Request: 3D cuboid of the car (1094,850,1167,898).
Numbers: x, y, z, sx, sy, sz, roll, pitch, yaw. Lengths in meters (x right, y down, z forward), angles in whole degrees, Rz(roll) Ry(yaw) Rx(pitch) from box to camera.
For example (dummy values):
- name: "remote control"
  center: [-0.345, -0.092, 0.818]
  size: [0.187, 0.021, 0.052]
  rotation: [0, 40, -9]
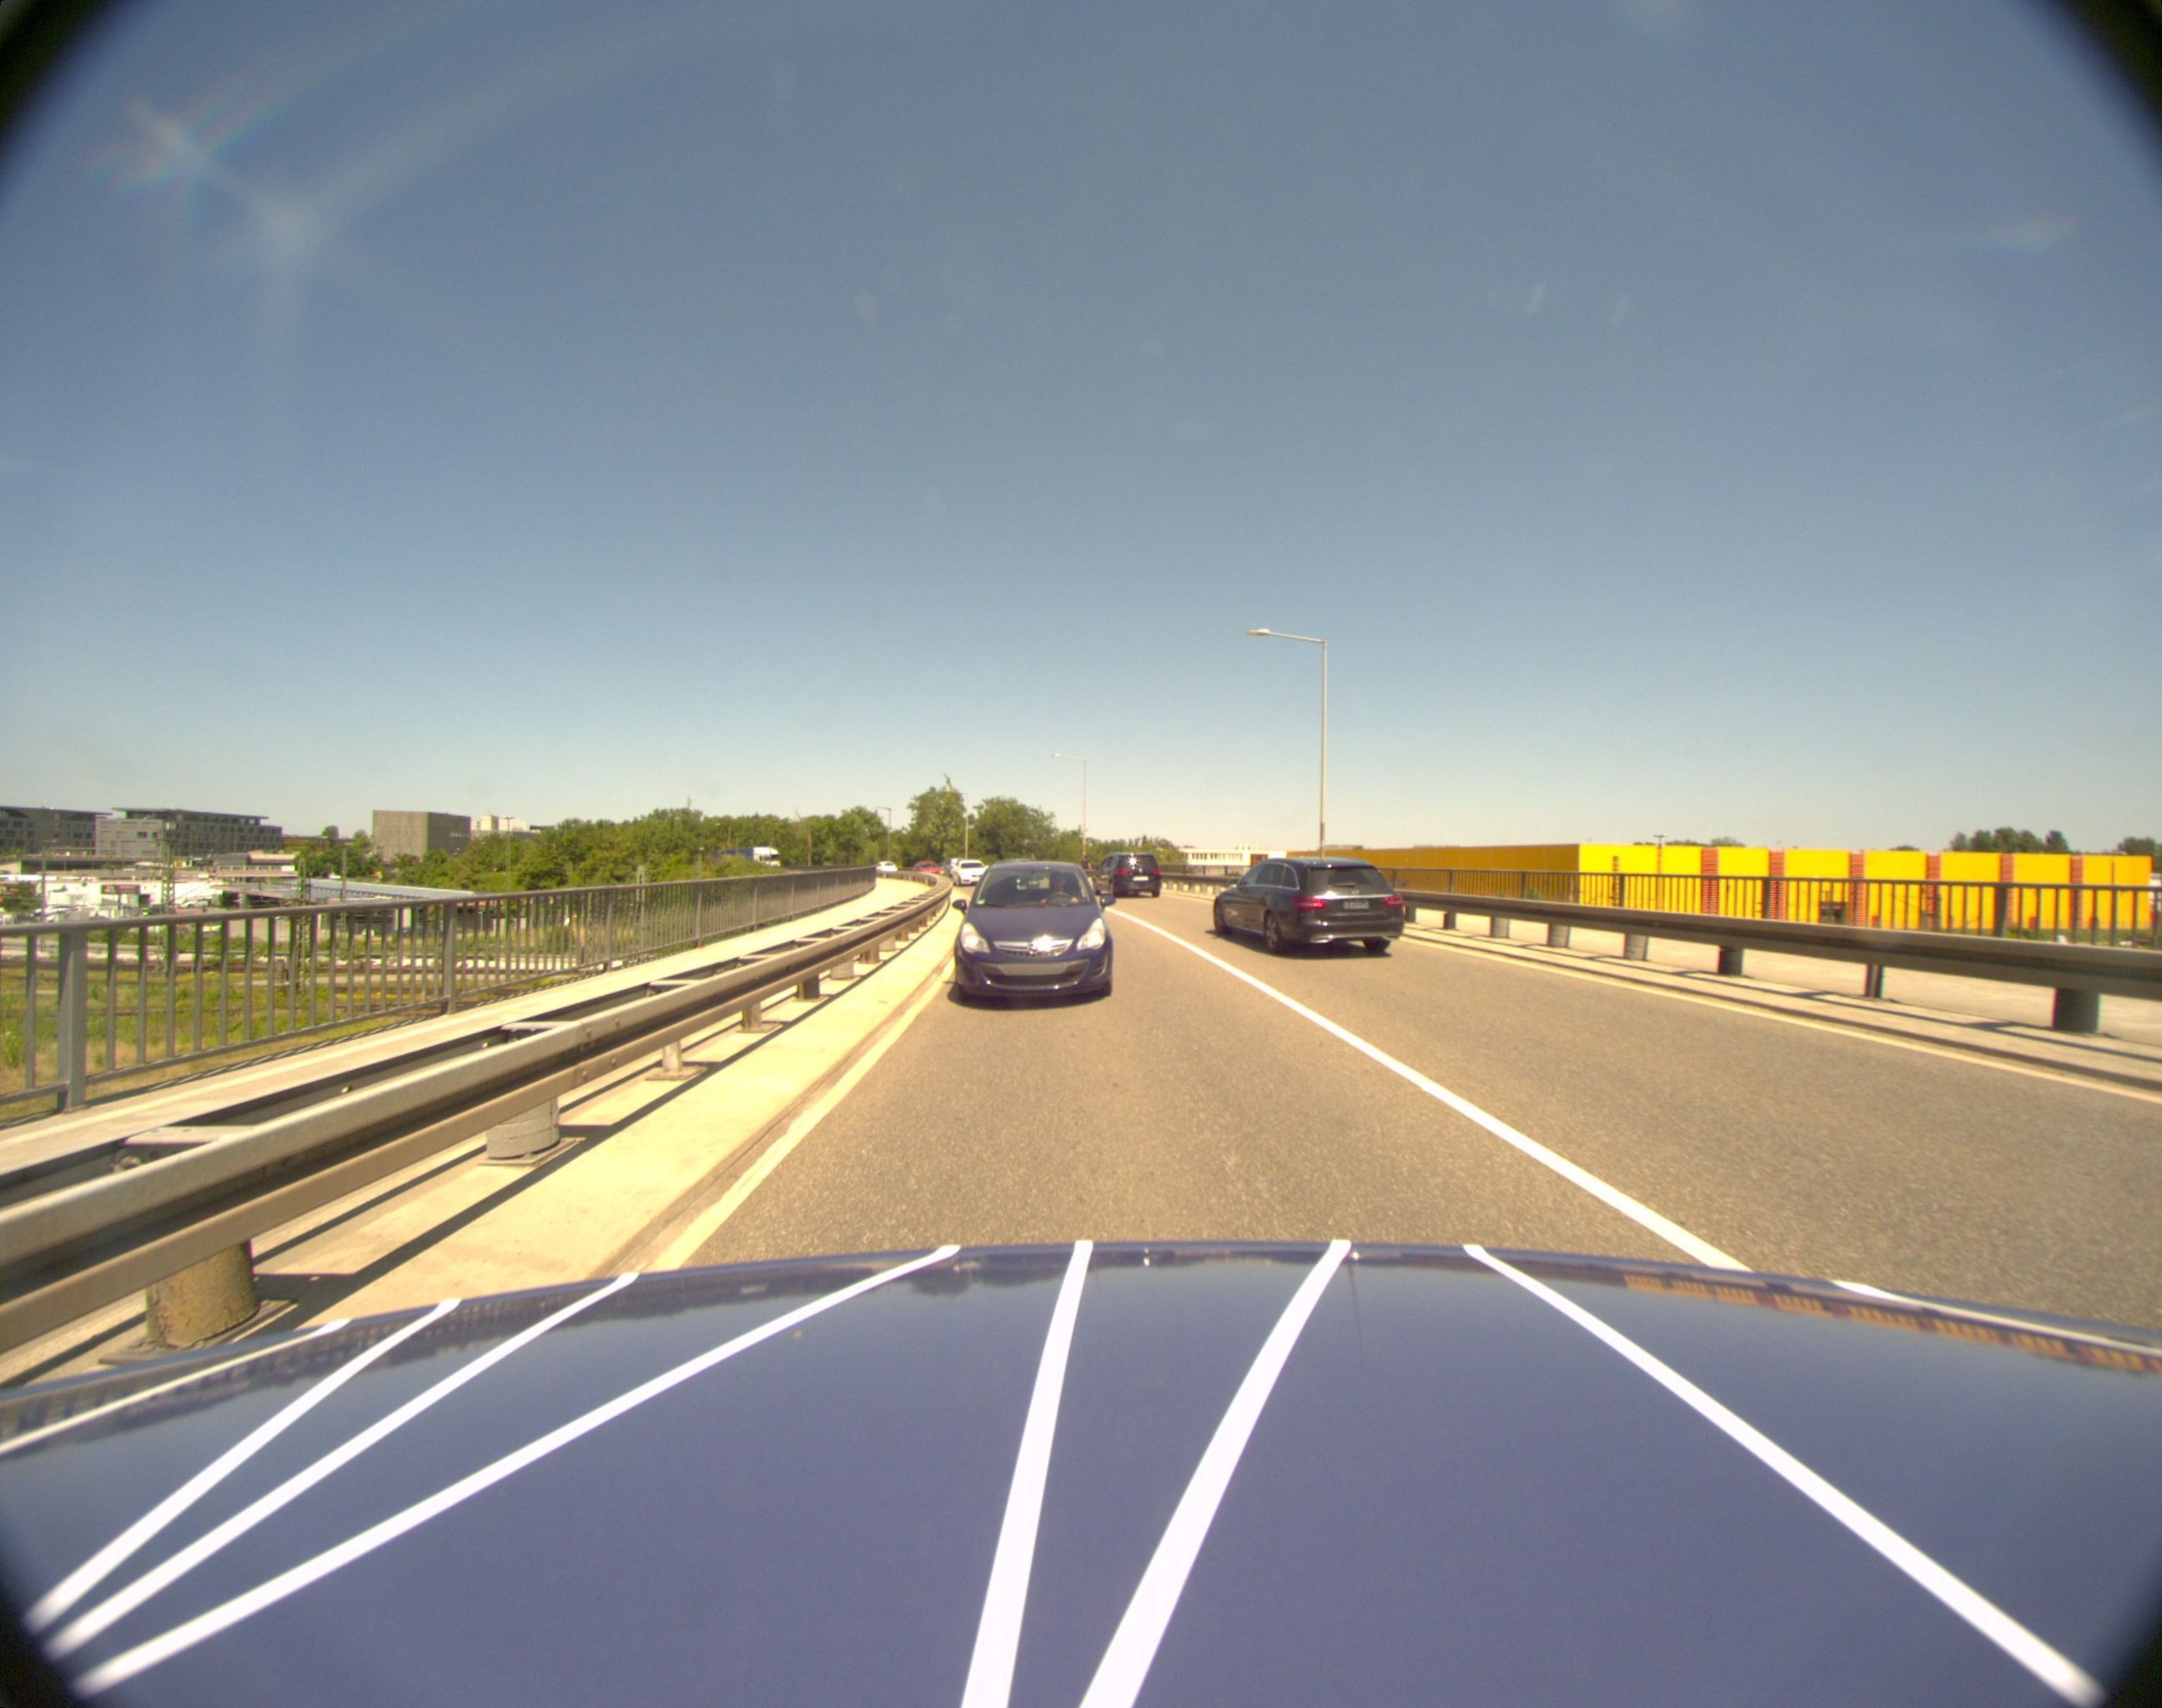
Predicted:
- name: "car"
  center: [1.762, 0.701, 28.409]
  size: [1.778, 1.616, 4.250]
  rotation: [-1, 0, -10]

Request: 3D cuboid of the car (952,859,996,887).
- name: "car"
  center: [-6.157, 1.056, 43.229]
  size: [1.797, 1.446, 4.516]
  rotation: [-2, 0, -17]

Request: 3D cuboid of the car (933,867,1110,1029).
- name: "car"
  center: [-0.520, 0.936, 9.277]
  size: [1.644, 1.431, 4.000]
  rotation: [-2, 0, 2]

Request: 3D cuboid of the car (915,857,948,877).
- name: "car"
  center: [-11.567, 0.998, 58.677]
  size: [1.797, 1.446, 4.515]
  rotation: [-1, 0, -20]

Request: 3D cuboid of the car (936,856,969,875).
- name: "car"
  center: [-11.132, 0.980, 65.659]
  size: [1.701, 1.598, 3.992]
  rotation: [-1, 0, -25]

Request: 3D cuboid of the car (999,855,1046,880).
- name: "car"
  center: [-3.836, 0.861, 48.905]
  size: [1.783, 1.499, 4.186]
  rotation: [-1, 0, -23]

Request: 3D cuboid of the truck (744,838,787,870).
- name: "truck"
  center: [-44.426, 0.051, 106.846]
  size: [6.820, 4.204, 2.701]
  rotation: [-2, 2, 41]

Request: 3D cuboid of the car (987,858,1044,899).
- name: "car"
  center: [-2.699, 0.901, 30.350]
  size: [1.796, 1.446, 4.519]
  rotation: [-2, 0, -11]

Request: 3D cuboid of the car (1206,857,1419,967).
- name: "car"
  center: [3.512, 0.790, 12.490]
  size: [1.777, 1.430, 4.389]
  rotation: [-1, 0, -6]

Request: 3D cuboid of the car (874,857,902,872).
- name: "car"
  center: [-21.117, 1.116, 83.136]
  size: [1.702, 1.598, 3.990]
  rotation: [-1, 0, -33]

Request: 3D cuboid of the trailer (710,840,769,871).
- name: "trailer"
  center: [-50.497, 0.267, 112.147]
  size: [12.677, 4.210, 2.707]
  rotation: [-2, 1, 41]
